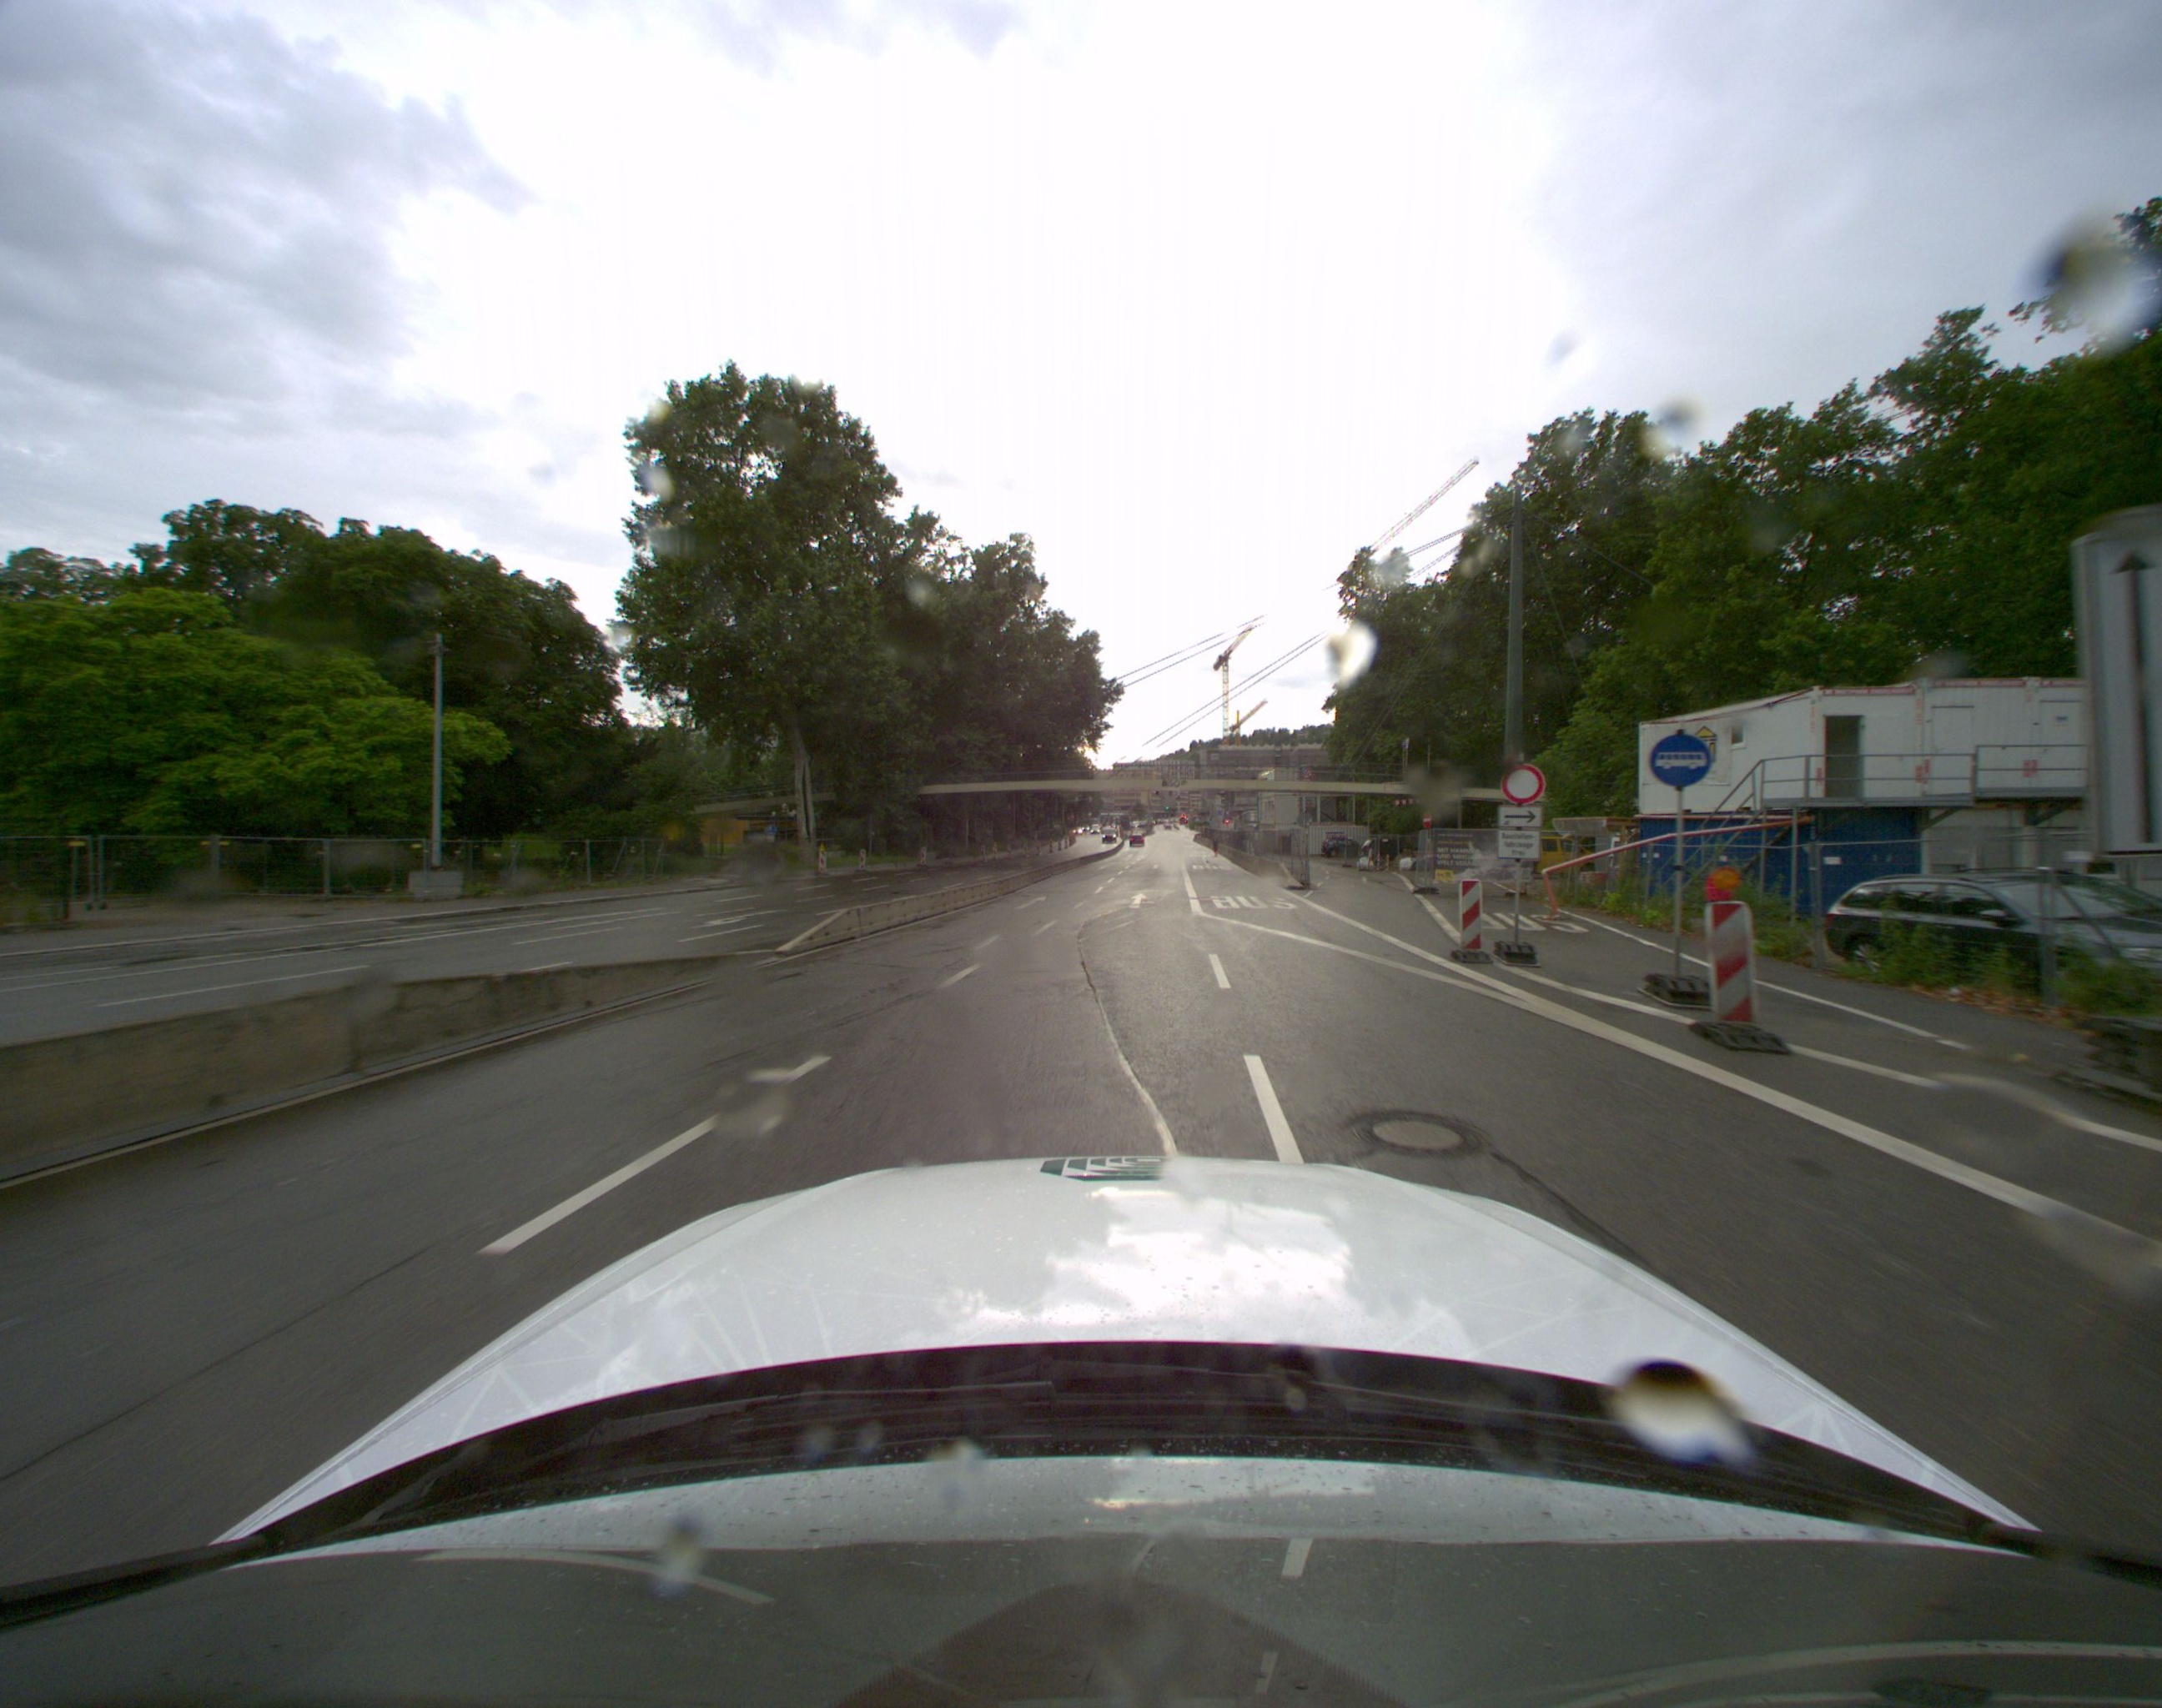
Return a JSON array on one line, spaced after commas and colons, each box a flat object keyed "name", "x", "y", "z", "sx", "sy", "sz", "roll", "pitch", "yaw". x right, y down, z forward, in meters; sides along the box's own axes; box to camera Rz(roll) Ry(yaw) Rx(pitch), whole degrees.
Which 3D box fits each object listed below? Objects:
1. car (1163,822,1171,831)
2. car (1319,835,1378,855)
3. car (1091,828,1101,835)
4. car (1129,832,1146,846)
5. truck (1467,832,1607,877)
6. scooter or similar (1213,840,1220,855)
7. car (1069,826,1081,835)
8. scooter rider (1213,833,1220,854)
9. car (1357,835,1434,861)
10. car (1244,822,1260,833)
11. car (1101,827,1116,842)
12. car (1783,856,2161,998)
[{"name": "car", "x": 21.489, "y": -6.950, "z": 203.810, "sx": 1.983, "sy": 2.013, "sz": 4.008, "roll": -2, "pitch": 0, "yaw": 7}, {"name": "car", "x": 22.779, "y": -0.803, "z": 69.502, "sx": 4.523, "sy": 1.628, "sz": 1.790, "roll": 0, "pitch": 3, "yaw": 3}, {"name": "car", "x": 3.185, "y": -4.655, "z": 169.592, "sx": 1.708, "sy": 1.338, "sz": 4.057, "roll": -7, "pitch": 1, "yaw": -3}, {"name": "car", "x": 6.809, "y": -1.757, "z": 98.077, "sx": 1.894, "sy": 1.528, "sz": 4.181, "roll": -2, "pitch": 0, "yaw": 3}, {"name": "truck", "x": 20.989, "y": 0.019, "z": 37.656, "sx": 5.138, "sy": 2.013, "sz": 2.408, "roll": 0, "pitch": 0, "yaw": -1}, {"name": "scooter or similar", "x": 12.210, "y": -0.577, "z": 73.285, "sx": 0.594, "sy": 1.319, "sz": 1.671, "roll": 0, "pitch": 2, "yaw": 8}, {"name": "car", "x": -1.223, "y": -4.828, "z": 168.574, "sx": 2.030, "sy": 1.653, "sz": 4.308, "roll": -2, "pitch": 3, "yaw": -8}, {"name": "scooter rider", "x": 12.202, "y": -0.949, "z": 73.252, "sx": 0.594, "sy": 1.785, "sz": 1.000, "roll": 0, "pitch": 2, "yaw": 8}, {"name": "car", "x": 21.204, "y": -0.426, "z": 55.014, "sx": 4.483, "sy": 1.728, "sz": 2.001, "roll": 0, "pitch": 1, "yaw": 0}, {"name": "car", "x": 31.584, "y": -4.993, "z": 150.697, "sx": 1.905, "sy": 1.974, "sz": 5.164, "roll": 0, "pitch": 2, "yaw": 0}, {"name": "car", "x": 3.851, "y": -2.720, "z": 114.432, "sx": 2.023, "sy": 1.936, "sz": 5.045, "roll": -2, "pitch": 0, "yaw": 1}, {"name": "car", "x": 11.962, "y": 0.851, "z": 10.751, "sx": 1.845, "sy": 1.485, "sz": 3.997, "roll": -2, "pitch": -2, "yaw": -1}]
